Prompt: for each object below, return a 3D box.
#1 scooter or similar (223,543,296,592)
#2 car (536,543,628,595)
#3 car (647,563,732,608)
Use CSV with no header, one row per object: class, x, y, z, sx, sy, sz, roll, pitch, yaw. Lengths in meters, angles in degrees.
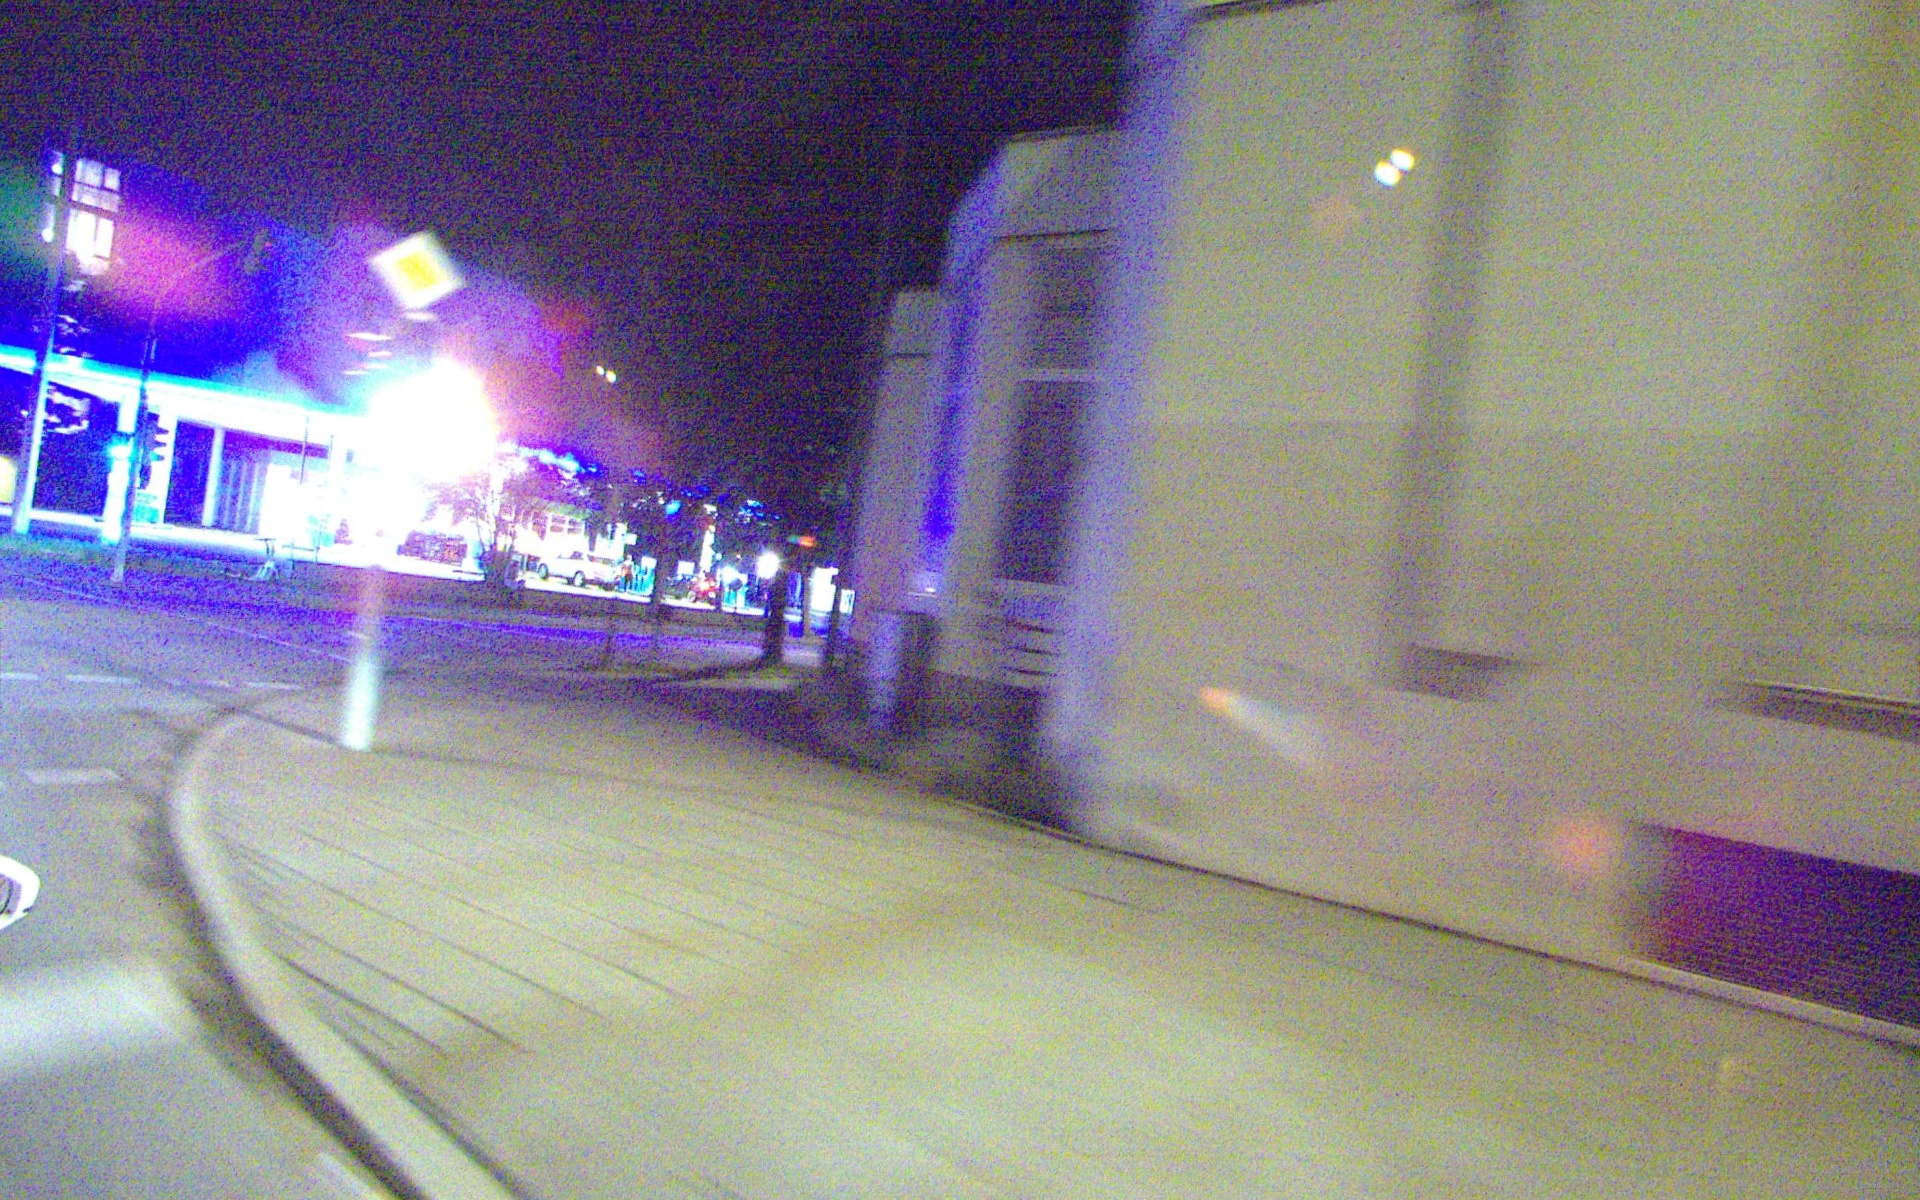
scooter or similar,-17.711,-0.813,25.475,0.704,1.105,1.678,8,0,-7
car,-18.554,-1.529,49.326,4.181,1.790,1.996,10,1,33
car,-14.638,-0.805,54.405,3.930,1.683,1.999,10,0,28
